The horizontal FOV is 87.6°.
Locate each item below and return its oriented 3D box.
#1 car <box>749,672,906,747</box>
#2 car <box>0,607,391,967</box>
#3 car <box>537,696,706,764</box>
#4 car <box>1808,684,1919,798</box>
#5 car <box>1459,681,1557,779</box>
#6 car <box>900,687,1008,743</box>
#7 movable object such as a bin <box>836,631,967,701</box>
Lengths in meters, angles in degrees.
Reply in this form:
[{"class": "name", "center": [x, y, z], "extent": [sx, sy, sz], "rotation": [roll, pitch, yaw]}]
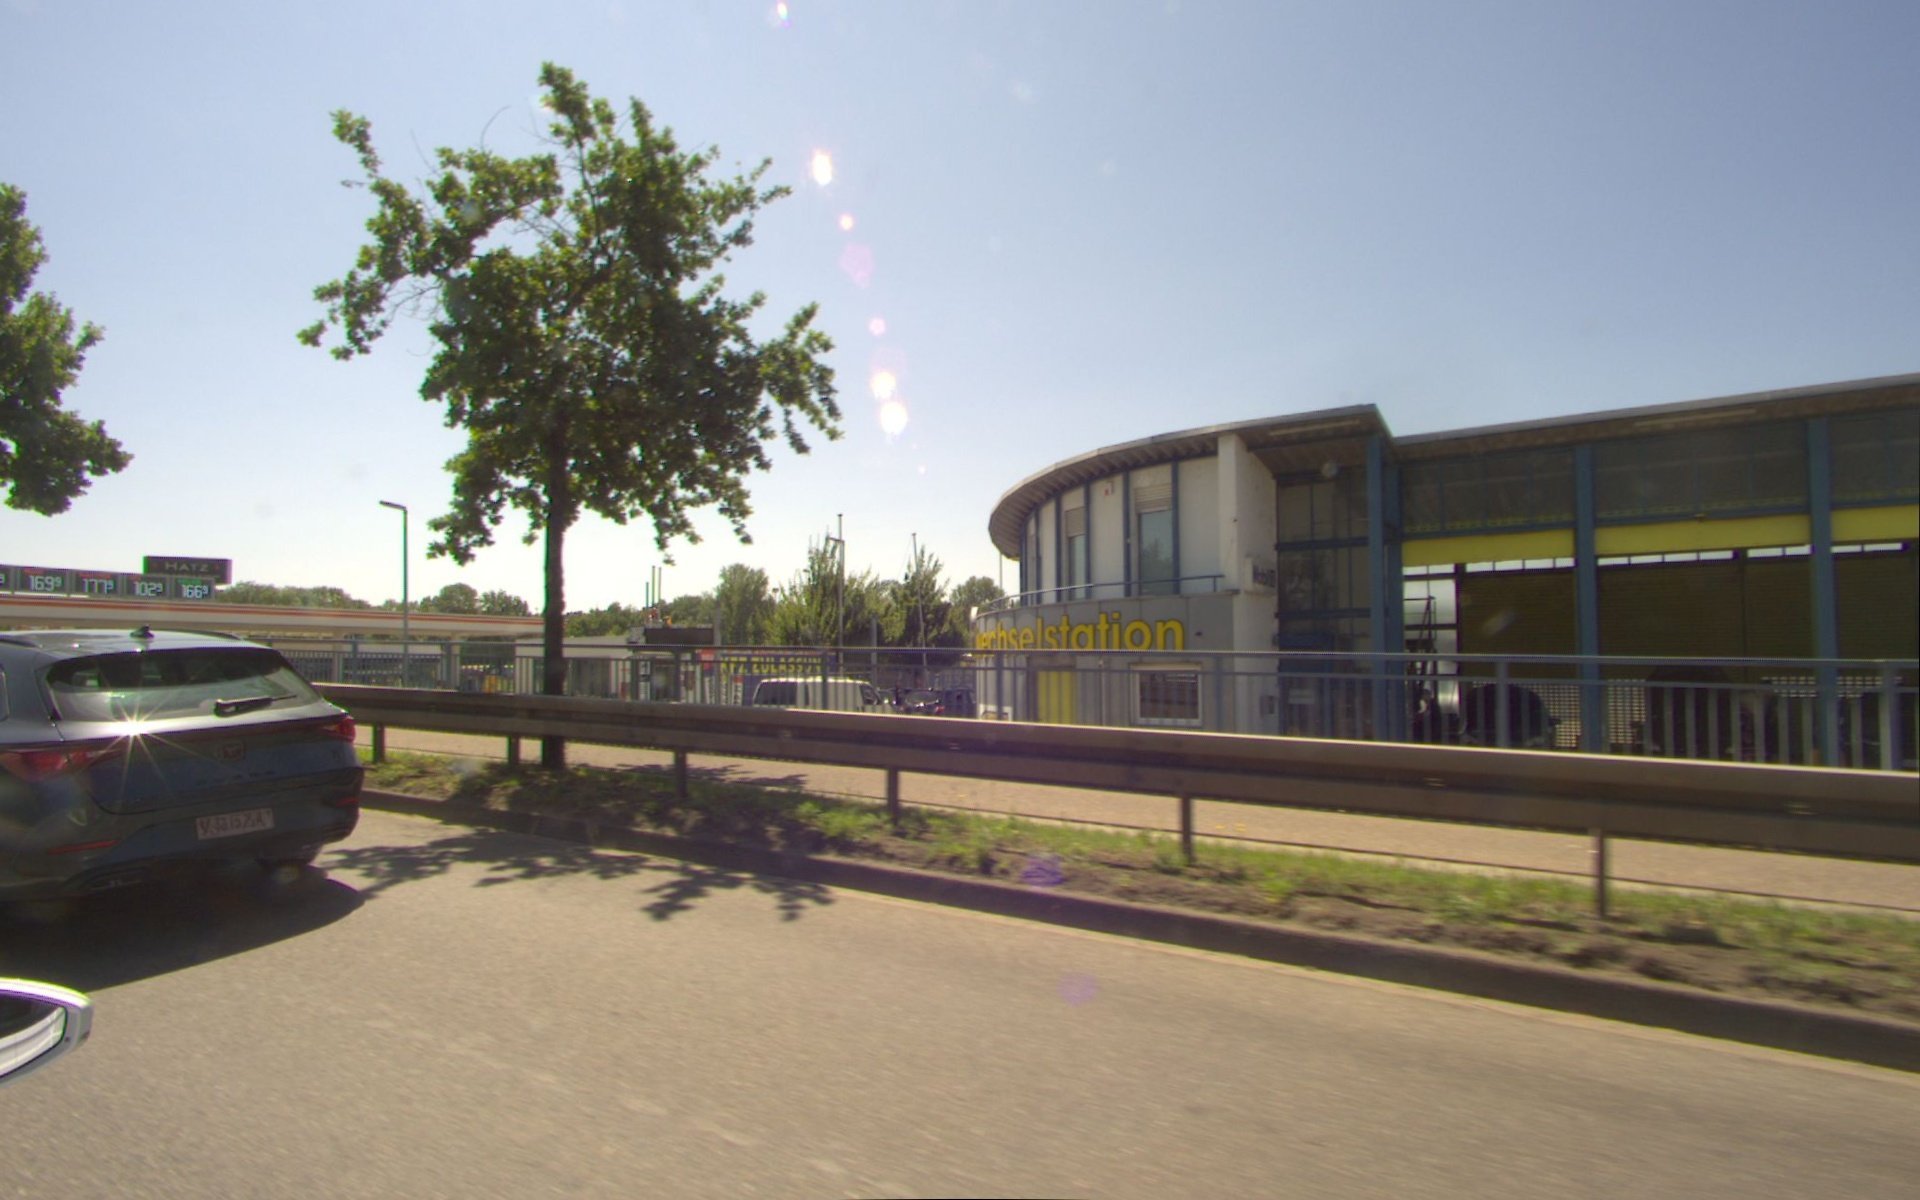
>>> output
[{"class": "car", "center": [-3.427, 2.835, 26.697], "extent": [1.574, 1.680, 4.586], "rotation": [-2, -3, 33]}, {"class": "car", "center": [-5.369, 0.859, 5.810], "extent": [4.170, 1.474, 1.604], "rotation": [-2, -3, 28]}, {"class": "car", "center": [-7.364, 2.820, 21.986], "extent": [3.254, 1.325, 1.466], "rotation": [0, -2, -4]}, {"class": "car", "center": [16.645, 2.437, 17.893], "extent": [1.626, 1.705, 3.664], "rotation": [-2, -3, 30]}, {"class": "car", "center": [11.530, 2.631, 21.041], "extent": [1.626, 1.705, 3.665], "rotation": [-2, -3, 30]}, {"class": "car", "center": [-0.128, 3.618, 31.968], "extent": [1.451, 1.493, 4.126], "rotation": [-2, -3, 33]}, {"class": "movable object such as a bin", "center": [-3.189, 3.797, 59.557], "extent": [2.988, 3.753, 11.050], "rotation": [-1, -3, 25]}]
